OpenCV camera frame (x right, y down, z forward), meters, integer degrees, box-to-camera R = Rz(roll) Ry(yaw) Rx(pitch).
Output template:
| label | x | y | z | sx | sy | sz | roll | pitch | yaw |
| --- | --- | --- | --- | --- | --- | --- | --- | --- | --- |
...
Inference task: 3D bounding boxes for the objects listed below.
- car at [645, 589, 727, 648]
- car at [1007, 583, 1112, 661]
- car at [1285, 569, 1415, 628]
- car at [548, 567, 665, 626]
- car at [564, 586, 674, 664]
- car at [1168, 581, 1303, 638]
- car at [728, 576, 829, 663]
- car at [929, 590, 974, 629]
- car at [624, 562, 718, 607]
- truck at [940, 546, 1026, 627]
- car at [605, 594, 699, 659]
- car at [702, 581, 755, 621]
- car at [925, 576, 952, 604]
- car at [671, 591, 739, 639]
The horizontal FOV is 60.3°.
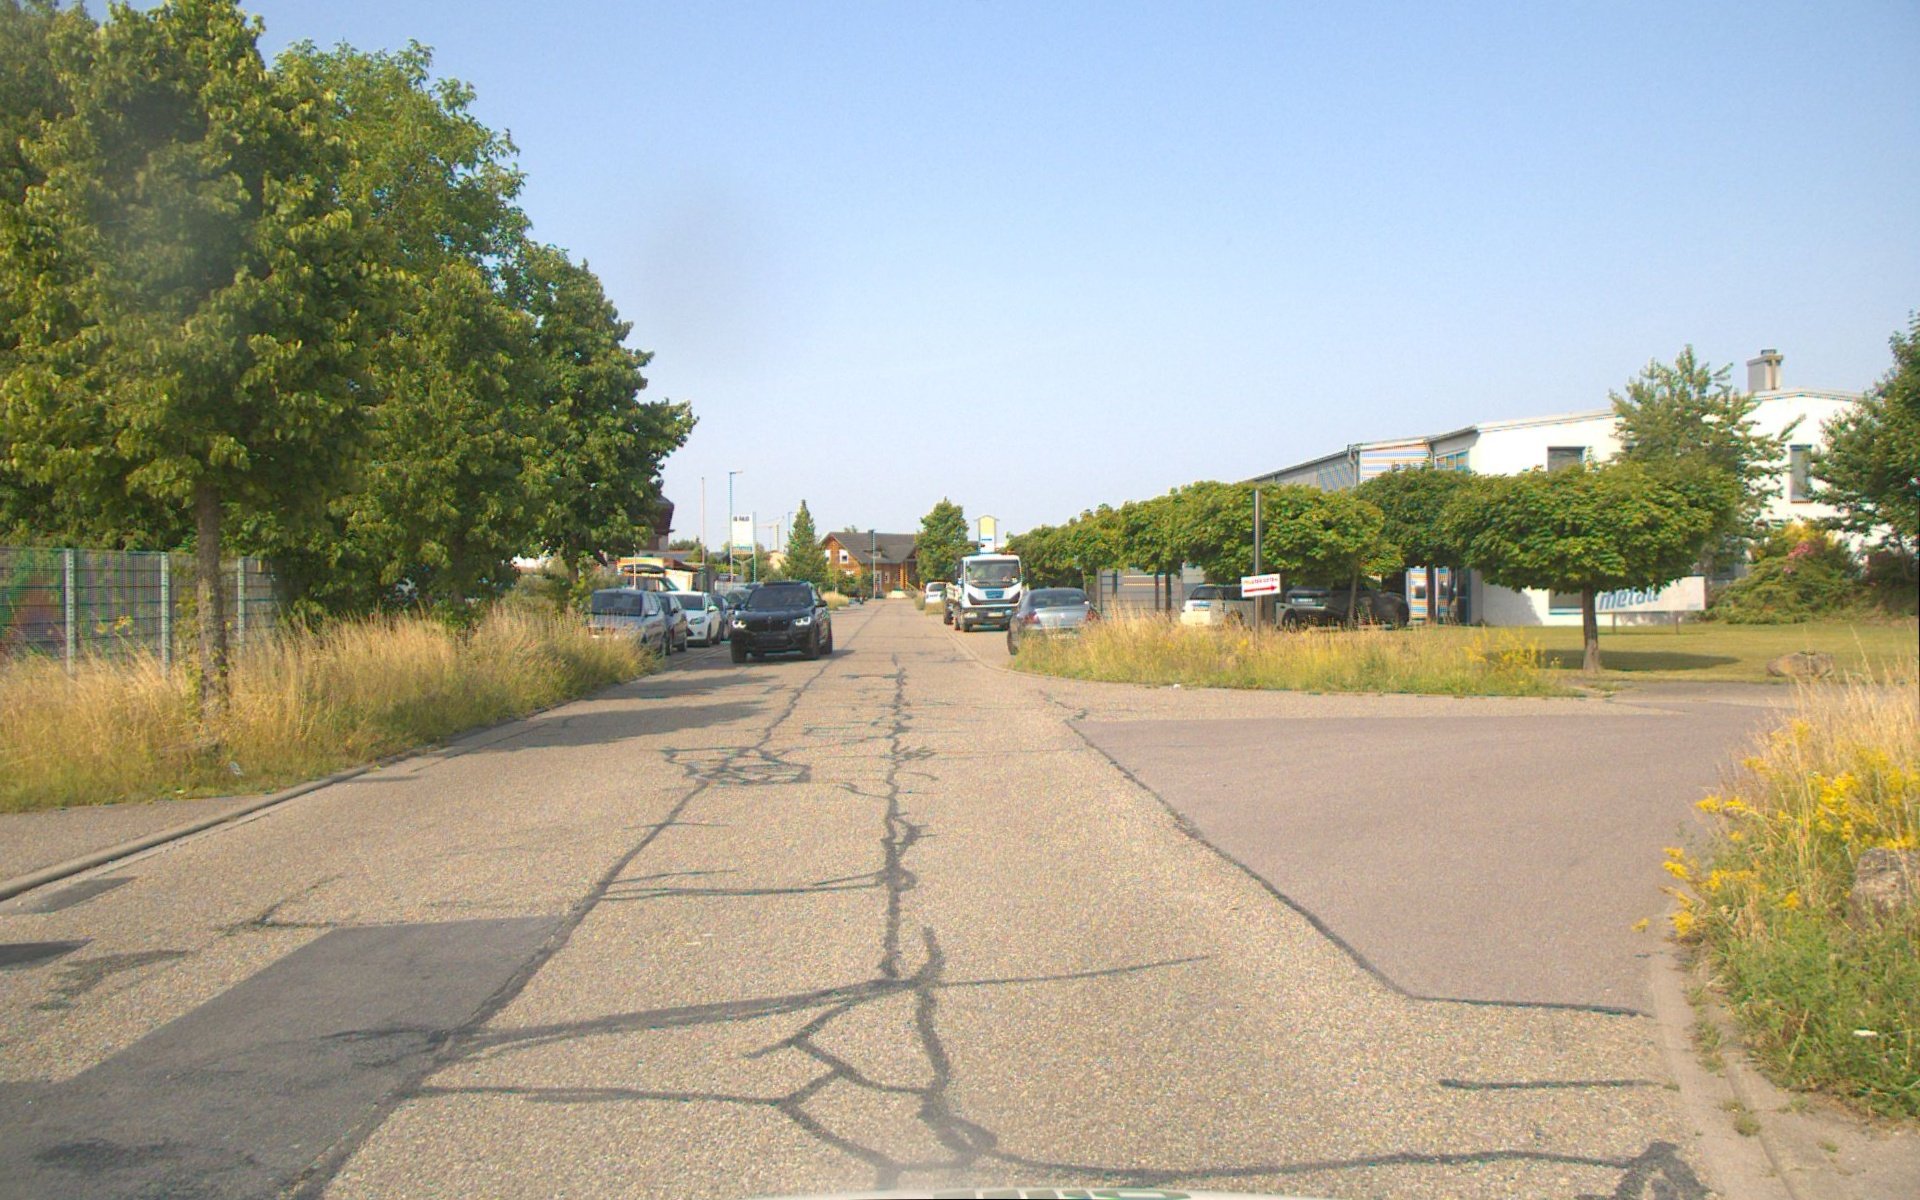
| label | x | y | z | sx | sy | sz | roll | pitch | yaw |
| --- | --- | --- | --- | --- | --- | --- | --- | --- | --- |
| car | -7.425 | 0.476 | 45.174 | 1.650 | 1.495 | 4.252 | 1 | 0 | -2 |
| car | 2.059 | 0.424 | 35.373 | 1.758 | 1.544 | 4.422 | -1 | 0 | -3 |
| car | 11.281 | -0.059 | 47.682 | 1.658 | 1.616 | 4.505 | 0 | 0 | 43 |
| car | -15.026 | -0.152 | 70.517 | 4.532 | 2.459 | 2.000 | -1 | 0 | 0 |
| car | -7.247 | 0.502 | 35.432 | 1.534 | 1.565 | 3.688 | 1 | 0 | 0 |
| car | 7.412 | 0.228 | 44.280 | 3.667 | 1.404 | 1.662 | -2 | 1 | -42 |
| car | -3.971 | 0.385 | 36.774 | 1.818 | 1.744 | 4.225 | -2 | 0 | -2 |
| car | -0.389 | 0.396 | 71.006 | 1.758 | 1.588 | 3.998 | -1 | 0 | -2 |
| car | -17.825 | -0.973 | 101.993 | 5.049 | 2.631 | 2.578 | -1 | 0 | 18 |
| truck | 0.743 | -0.478 | 58.971 | 2.313 | 2.728 | 6.503 | -1 | 0 | -6 |
| car | -7.416 | 0.608 | 40.121 | 1.546 | 1.469 | 3.963 | 1 | 0 | -1 |
| car | -9.387 | 0.021 | 67.331 | 1.600 | 1.544 | 3.605 | 1 | 0 | 0 |
| car | -1.594 | -0.742 | 121.171 | 1.801 | 1.957 | 3.755 | -1 | 0 | -2 |
| car | -7.901 | 0.438 | 51.479 | 1.600 | 1.411 | 4.367 | 1 | 0 | -2 |
